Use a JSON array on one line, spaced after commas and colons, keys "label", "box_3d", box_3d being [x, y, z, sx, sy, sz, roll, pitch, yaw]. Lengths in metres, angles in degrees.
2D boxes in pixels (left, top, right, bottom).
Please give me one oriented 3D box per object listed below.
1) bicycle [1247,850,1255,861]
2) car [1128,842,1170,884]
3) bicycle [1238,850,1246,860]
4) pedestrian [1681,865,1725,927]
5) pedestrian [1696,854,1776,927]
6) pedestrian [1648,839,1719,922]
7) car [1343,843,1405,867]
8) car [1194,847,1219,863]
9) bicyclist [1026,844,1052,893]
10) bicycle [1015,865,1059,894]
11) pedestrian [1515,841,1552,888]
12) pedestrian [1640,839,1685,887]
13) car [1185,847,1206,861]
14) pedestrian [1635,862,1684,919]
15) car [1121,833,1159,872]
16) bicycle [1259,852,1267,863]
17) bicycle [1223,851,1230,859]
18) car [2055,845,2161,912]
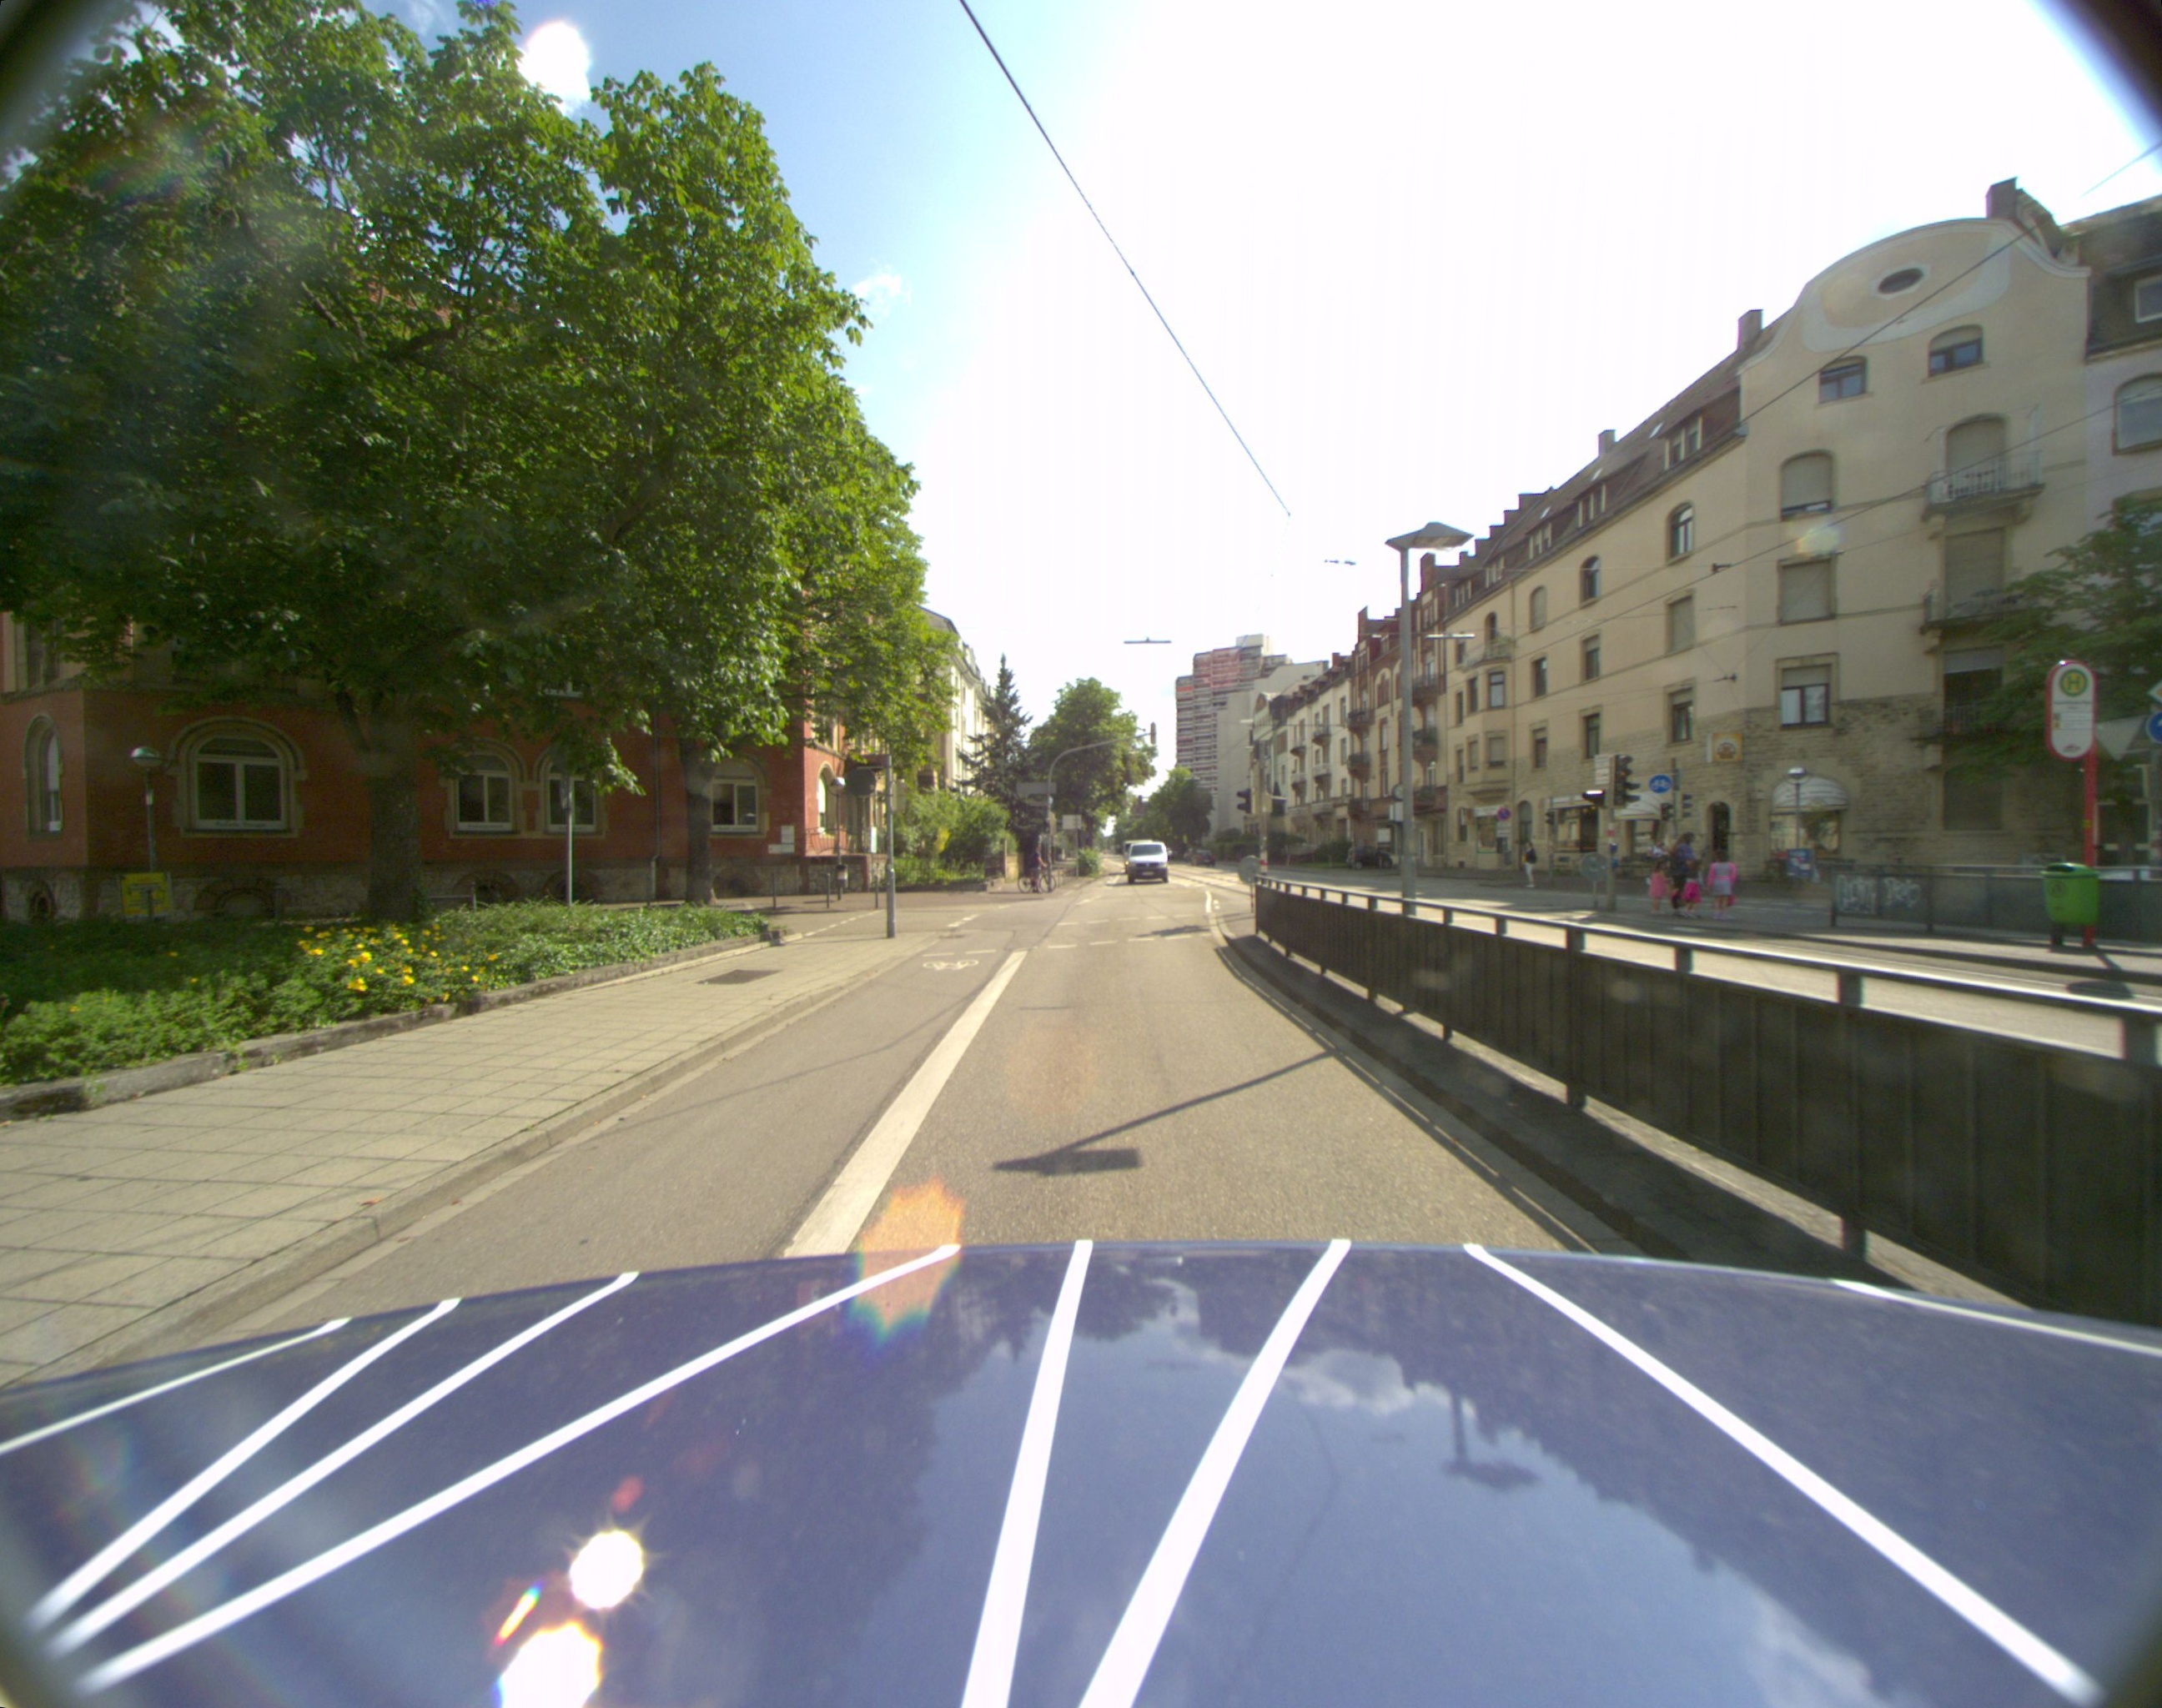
[{"label": "bicycle", "box_3d": [16.772, 0.116, 75.143, 0.539, 1.024, 1.873, -1, 1, 5]}, {"label": "car", "box_3d": [3.275, 0.381, 36.679, 1.830, 1.856, 4.847, -2, 1, 5]}, {"label": "bicycle", "box_3d": [16.871, 0.107, 79.632, 0.587, 0.980, 1.873, -1, 1, 5]}, {"label": "pedestrian", "box_3d": [11.544, 0.773, 14.113, 0.438, 1.102, 0.423, 1, 1, -4]}, {"label": "pedestrian", "box_3d": [12.199, 0.663, 14.171, 0.828, 1.296, 0.717, 1, 1, -4]}, {"label": "pedestrian", "box_3d": [11.684, 0.494, 14.755, 0.730, 1.556, 0.799, -1, 1, -4]}, {"label": "car", "box_3d": [19.819, 0.056, 51.473, 3.452, 1.478, 1.706, -3, 1, 2]}, {"label": "car", "box_3d": [11.191, 0.098, 68.085, 1.629, 1.379, 3.435, 0, 0, -1]}, {"label": "bicyclist", "box_3d": [-1.593, 0.544, 28.567, 0.736, 1.809, 0.819, -1, 1, -22]}, {"label": "bicycle", "box_3d": [-1.633, 0.947, 28.574, 1.849, 1.029, 0.389, 0, 1, -45]}, {"label": "pedestrian", "box_3d": [17.182, 0.388, 28.838, 0.758, 1.695, 0.874, -5, 1, 0]}, {"label": "pedestrian", "box_3d": [19.656, 0.286, 25.715, 0.695, 1.533, 0.963, -5, 1, 2]}, {"label": "car", "box_3d": [13.923, 0.004, 92.642, 1.796, 1.701, 4.331, -1, 0, 0]}, {"label": "pedestrian", "box_3d": [11.638, 0.731, 15.300, 0.643, 1.107, 0.443, -1, 1, -4]}, {"label": "car", "box_3d": [4.059, -0.116, 53.085, 2.167, 2.572, 5.663, -1, 1, 0]}, {"label": "bicycle", "box_3d": [16.564, 0.268, 69.222, 0.524, 0.901, 2.067, -1, 2, 8]}, {"label": "bicycle", "box_3d": [16.402, 0.126, 85.808, 0.587, 0.792, 1.873, -3, 1, 5]}, {"label": "car", "box_3d": [24.022, 0.515, 16.156, 3.862, 1.412, 1.724, 0, 1, 44]}]
